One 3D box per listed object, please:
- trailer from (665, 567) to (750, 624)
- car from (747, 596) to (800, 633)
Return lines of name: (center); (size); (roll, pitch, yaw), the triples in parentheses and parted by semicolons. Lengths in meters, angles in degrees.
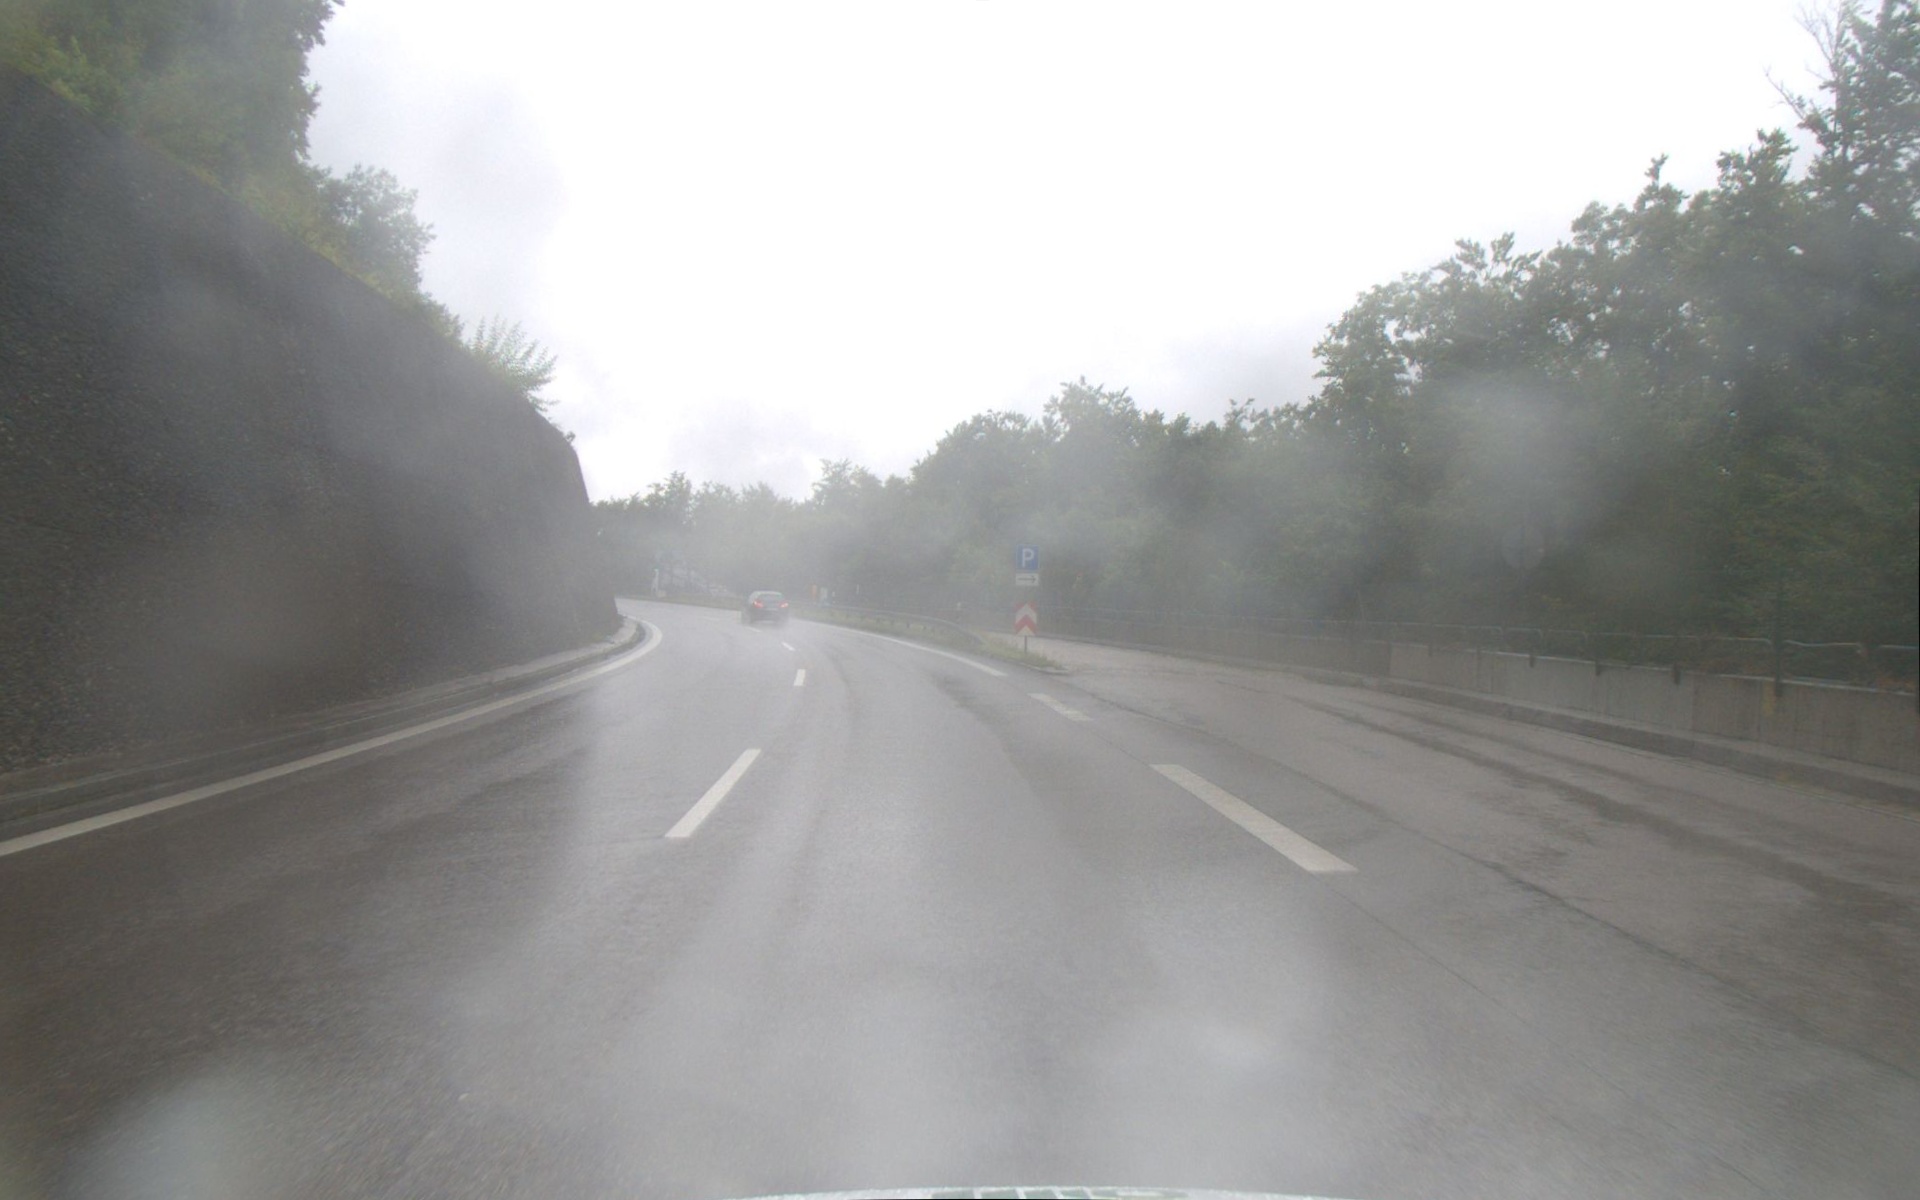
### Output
trailer: (-20.672, -0.443, 134.578); (2.855, 4.319, 14.583); (2, 0, -25)
car: (-8.594, 0.632, 76.010); (1.872, 1.525, 3.985); (4, 0, -14)
